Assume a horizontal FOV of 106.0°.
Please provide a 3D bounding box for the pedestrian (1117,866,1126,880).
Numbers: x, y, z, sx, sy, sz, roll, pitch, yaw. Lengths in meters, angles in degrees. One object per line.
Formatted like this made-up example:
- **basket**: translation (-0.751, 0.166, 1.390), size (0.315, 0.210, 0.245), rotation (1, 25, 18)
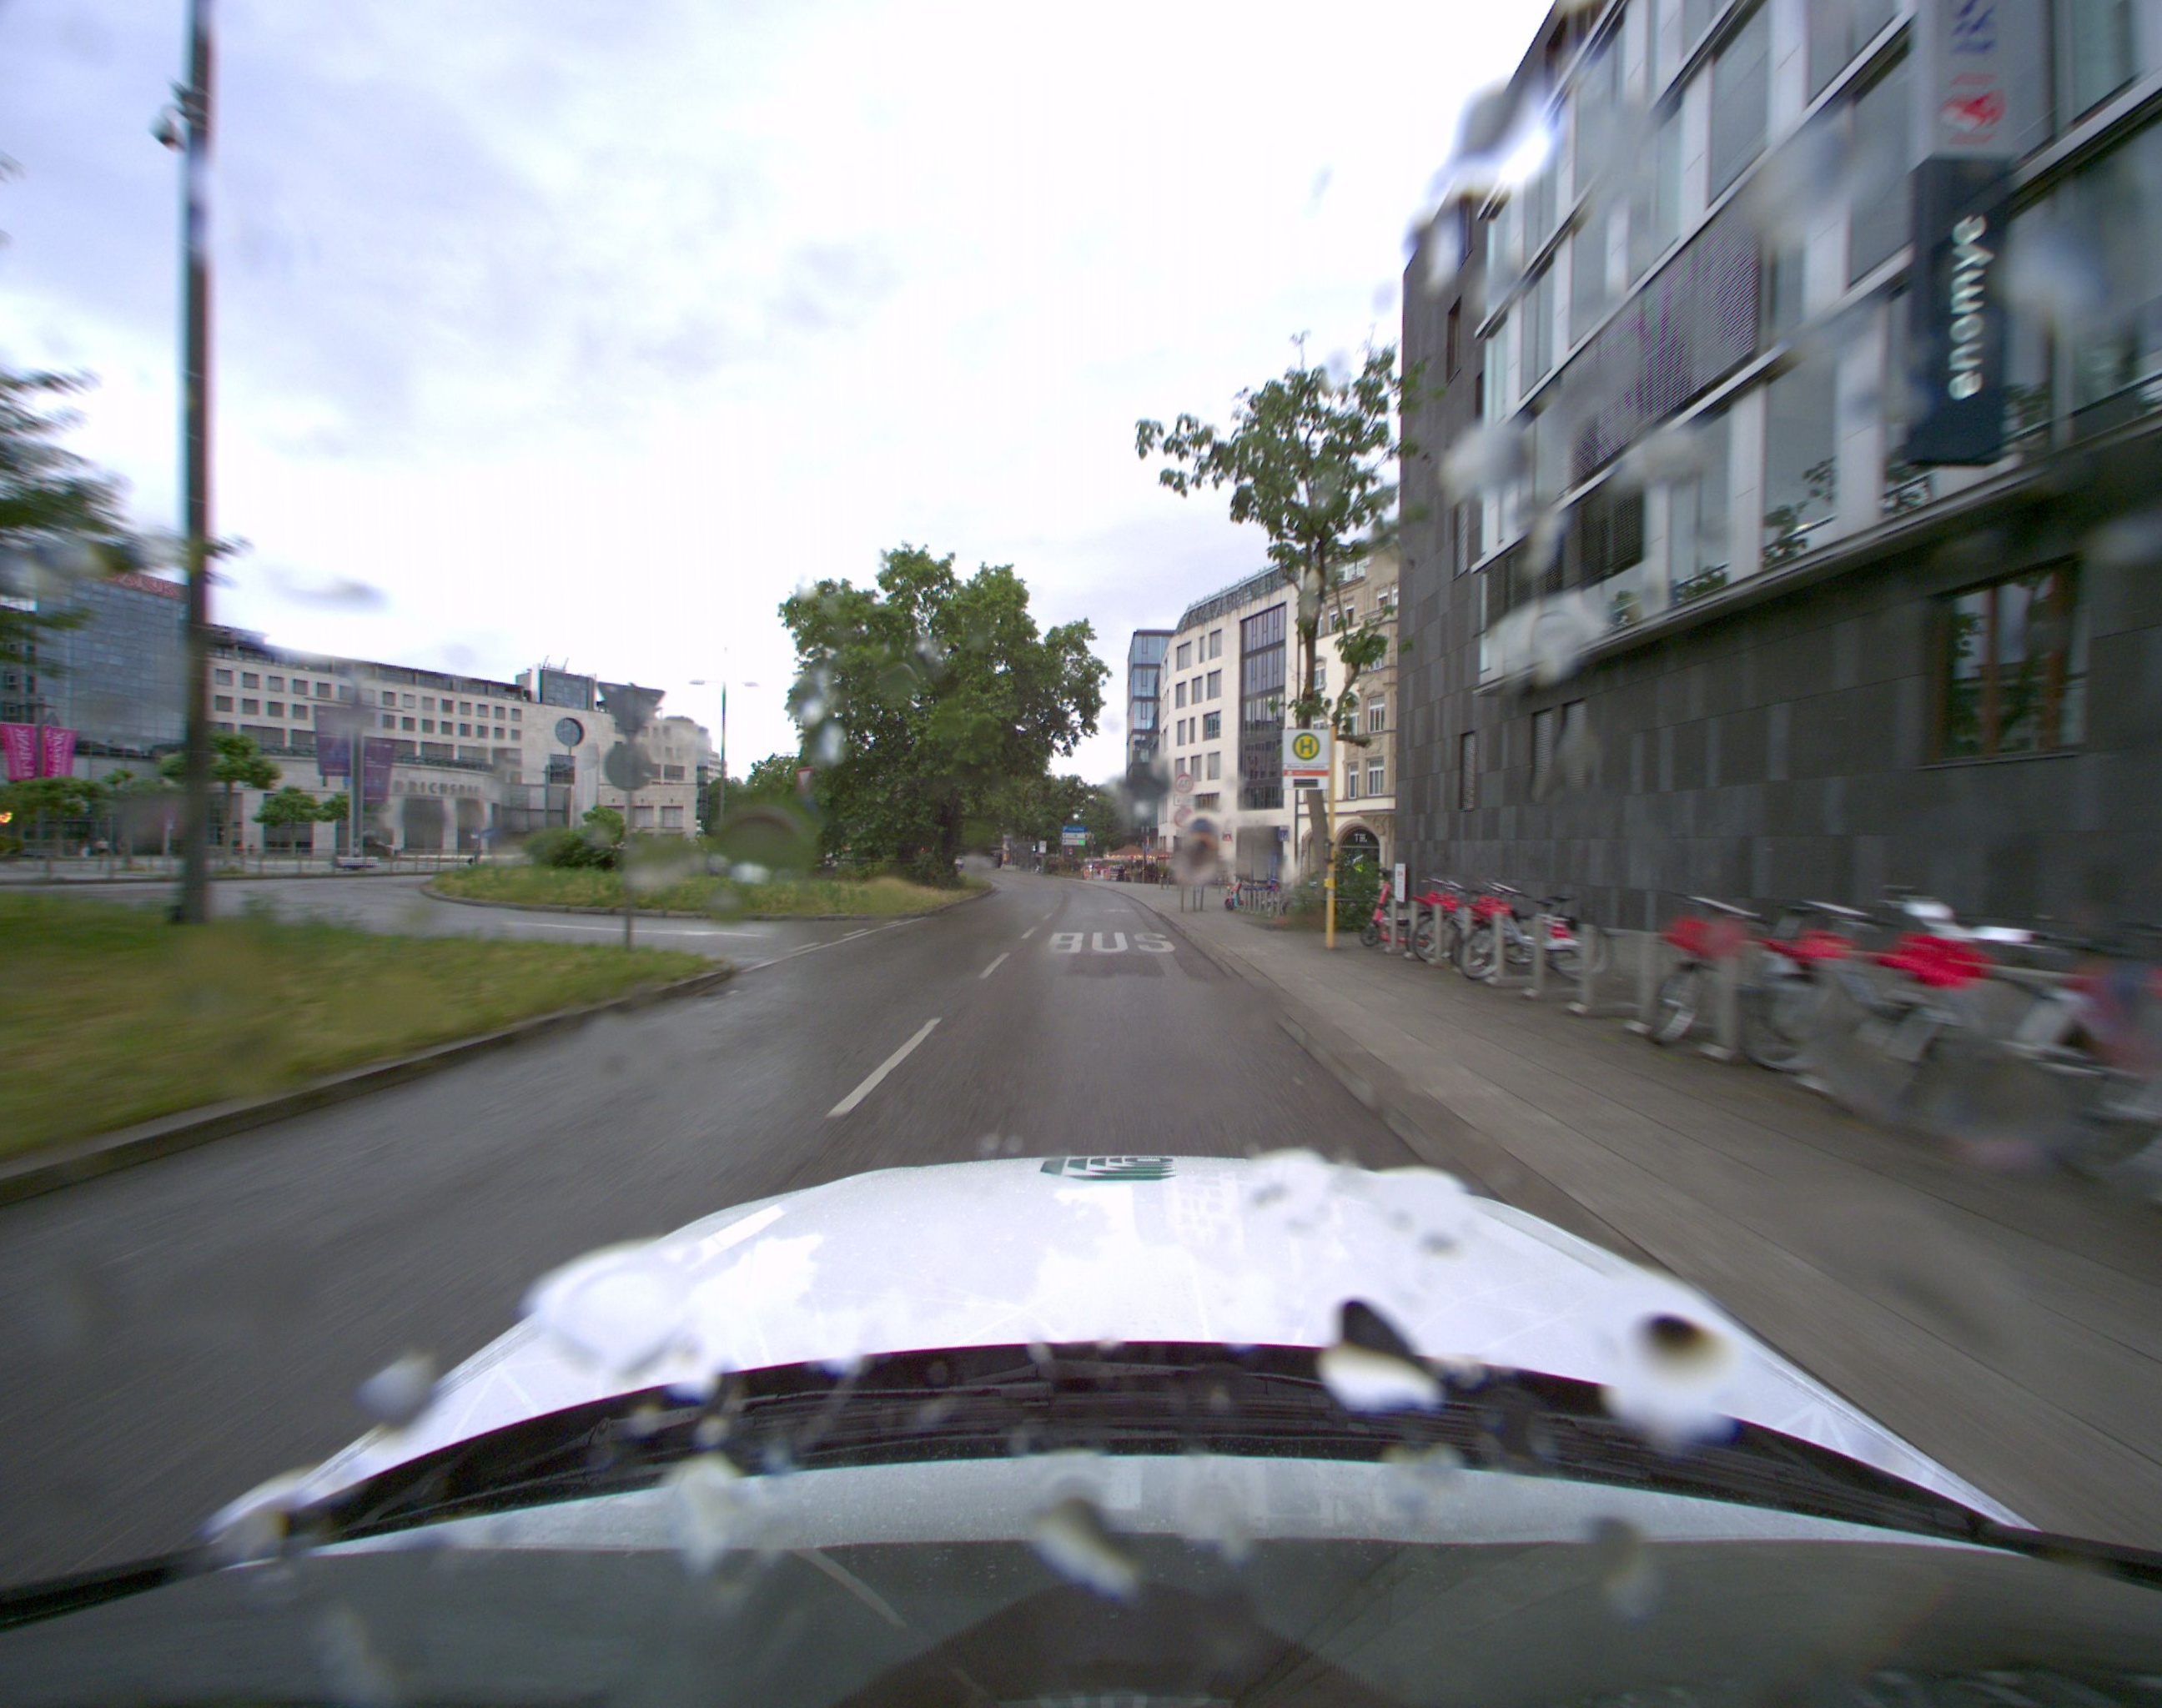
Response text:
- **pedestrian**: translation (3.923, 1.817, 78.729), size (0.815, 1.326, 0.635), rotation (3, -1, -3)

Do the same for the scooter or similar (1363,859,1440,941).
- **scooter or similar**: translation (4.957, 0.709, 12.609), size (1.104, 1.258, 0.302), rotation (1, -2, -6)

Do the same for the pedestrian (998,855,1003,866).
- **pedestrian**: translation (-12.221, 1.012, 123.841), size (0.718, 1.702, 0.620), rotation (0, -1, 8)

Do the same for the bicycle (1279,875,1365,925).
- **bicycle**: translation (5.504, 1.046, 18.640), size (1.790, 1.068, 0.555), rotation (2, -2, -4)

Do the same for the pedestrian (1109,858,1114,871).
- **pedestrian**: translation (4.607, 1.536, 122.119), size (0.621, 1.933, 0.789), rotation (1, -1, 7)

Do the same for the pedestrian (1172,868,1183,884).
- **pedestrian**: translation (8.153, 1.820, 68.476), size (0.629, 1.326, 0.631), rotation (3, -1, -23)

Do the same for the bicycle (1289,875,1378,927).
- **bicycle**: translation (5.567, 1.028, 17.970), size (1.790, 1.068, 0.555), rotation (2, -2, -4)

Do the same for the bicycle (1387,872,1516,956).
- **bicycle**: translation (5.181, 0.832, 11.443), size (1.532, 1.140, 0.661), rotation (1, -2, -6)

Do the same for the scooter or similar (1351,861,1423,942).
- **scooter or similar**: translation (4.867, 0.752, 12.971), size (1.059, 1.258, 0.302), rotation (1, -2, -6)

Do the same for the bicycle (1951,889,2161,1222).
- **bicycle**: translation (4.789, 0.753, 3.386), size (1.727, 1.183, 0.688), rotation (0, 0, -6)

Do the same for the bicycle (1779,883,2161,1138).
- **bicycle**: translation (4.817, 0.763, 4.322), size (1.727, 1.183, 0.688), rotation (0, 0, -6)

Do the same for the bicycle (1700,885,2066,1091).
- **bicycle**: translation (4.971, 0.786, 5.108), size (1.727, 1.140, 0.688), rotation (0, 0, -6)

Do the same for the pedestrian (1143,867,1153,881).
- **pedestrian**: translation (6.494, 1.949, 78.589), size (0.815, 1.326, 0.635), rotation (3, -1, -3)

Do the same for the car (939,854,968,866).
- **car**: translation (-18.080, 0.868, 115.390), size (1.964, 1.666, 4.292), rotation (2, -1, -44)

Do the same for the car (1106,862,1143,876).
- **car**: translation (5.723, 1.949, 107.193), size (4.719, 1.691, 2.005), rotation (2, 0, 0)

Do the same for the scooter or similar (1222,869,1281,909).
- **scooter or similar**: translation (5.687, 1.166, 27.179), size (1.789, 1.243, 0.595), rotation (2, -2, -5)

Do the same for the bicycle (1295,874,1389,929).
- **bicycle**: translation (5.476, 0.986, 17.097), size (1.790, 1.068, 0.555), rotation (2, -2, -4)

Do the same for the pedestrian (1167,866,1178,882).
- **pedestrian**: translation (7.828, 1.734, 69.797), size (0.629, 1.326, 0.631), rotation (3, -1, -23)

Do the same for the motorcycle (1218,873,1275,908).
- **motorcycle**: translation (5.707, 1.248, 28.103), size (1.789, 1.140, 0.595), rotation (2, -2, -5)

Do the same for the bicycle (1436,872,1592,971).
- **bicycle**: translation (5.188, 0.792, 9.812), size (1.532, 1.140, 0.688), rotation (1, -2, -6)

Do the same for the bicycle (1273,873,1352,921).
- **bicycle**: translation (5.804, 1.073, 20.450), size (1.791, 1.108, 0.669), rotation (2, -2, -5)

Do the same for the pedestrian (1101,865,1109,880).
- **pedestrian**: translation (2.255, 1.735, 76.743), size (0.604, 1.326, 0.567), rotation (3, -1, -3)

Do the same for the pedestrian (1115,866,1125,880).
- **pedestrian**: translation (3.820, 1.825, 79.520), size (0.815, 1.326, 0.635), rotation (3, -1, -3)

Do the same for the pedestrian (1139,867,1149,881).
- **pedestrian**: translation (6.151, 1.954, 79.407), size (0.815, 1.326, 0.635), rotation (3, -1, -3)

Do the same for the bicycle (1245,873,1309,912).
- **bicycle**: translation (6.054, 1.187, 25.192), size (1.791, 1.108, 0.669), rotation (2, -2, -5)

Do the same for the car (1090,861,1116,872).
- **car**: translation (3.162, 1.822, 115.903), size (1.623, 1.416, 3.486), rotation (3, -1, -43)

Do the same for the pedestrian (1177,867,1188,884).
- **pedestrian**: translation (8.444, 1.770, 67.665), size (0.629, 1.326, 0.631), rotation (3, -1, -23)

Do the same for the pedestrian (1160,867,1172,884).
- **pedestrian**: translation (6.628, 1.658, 63.433), size (0.772, 1.326, 0.635), rotation (3, -1, -4)

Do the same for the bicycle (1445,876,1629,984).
- **bicycle**: translation (5.035, 0.821, 9.049), size (1.703, 1.140, 0.688), rotation (1, -2, -6)

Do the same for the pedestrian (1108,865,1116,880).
- **pedestrian**: translation (2.945, 1.758, 76.782), size (0.604, 1.326, 0.567), rotation (3, -1, -3)

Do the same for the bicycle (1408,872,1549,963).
- **bicycle**: translation (5.167, 0.808, 10.637), size (1.532, 1.140, 0.688), rotation (1, -2, -6)

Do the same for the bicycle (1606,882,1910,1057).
- **bicycle**: translation (4.873, 0.794, 5.921), size (1.727, 1.140, 0.688), rotation (0, 0, -6)
